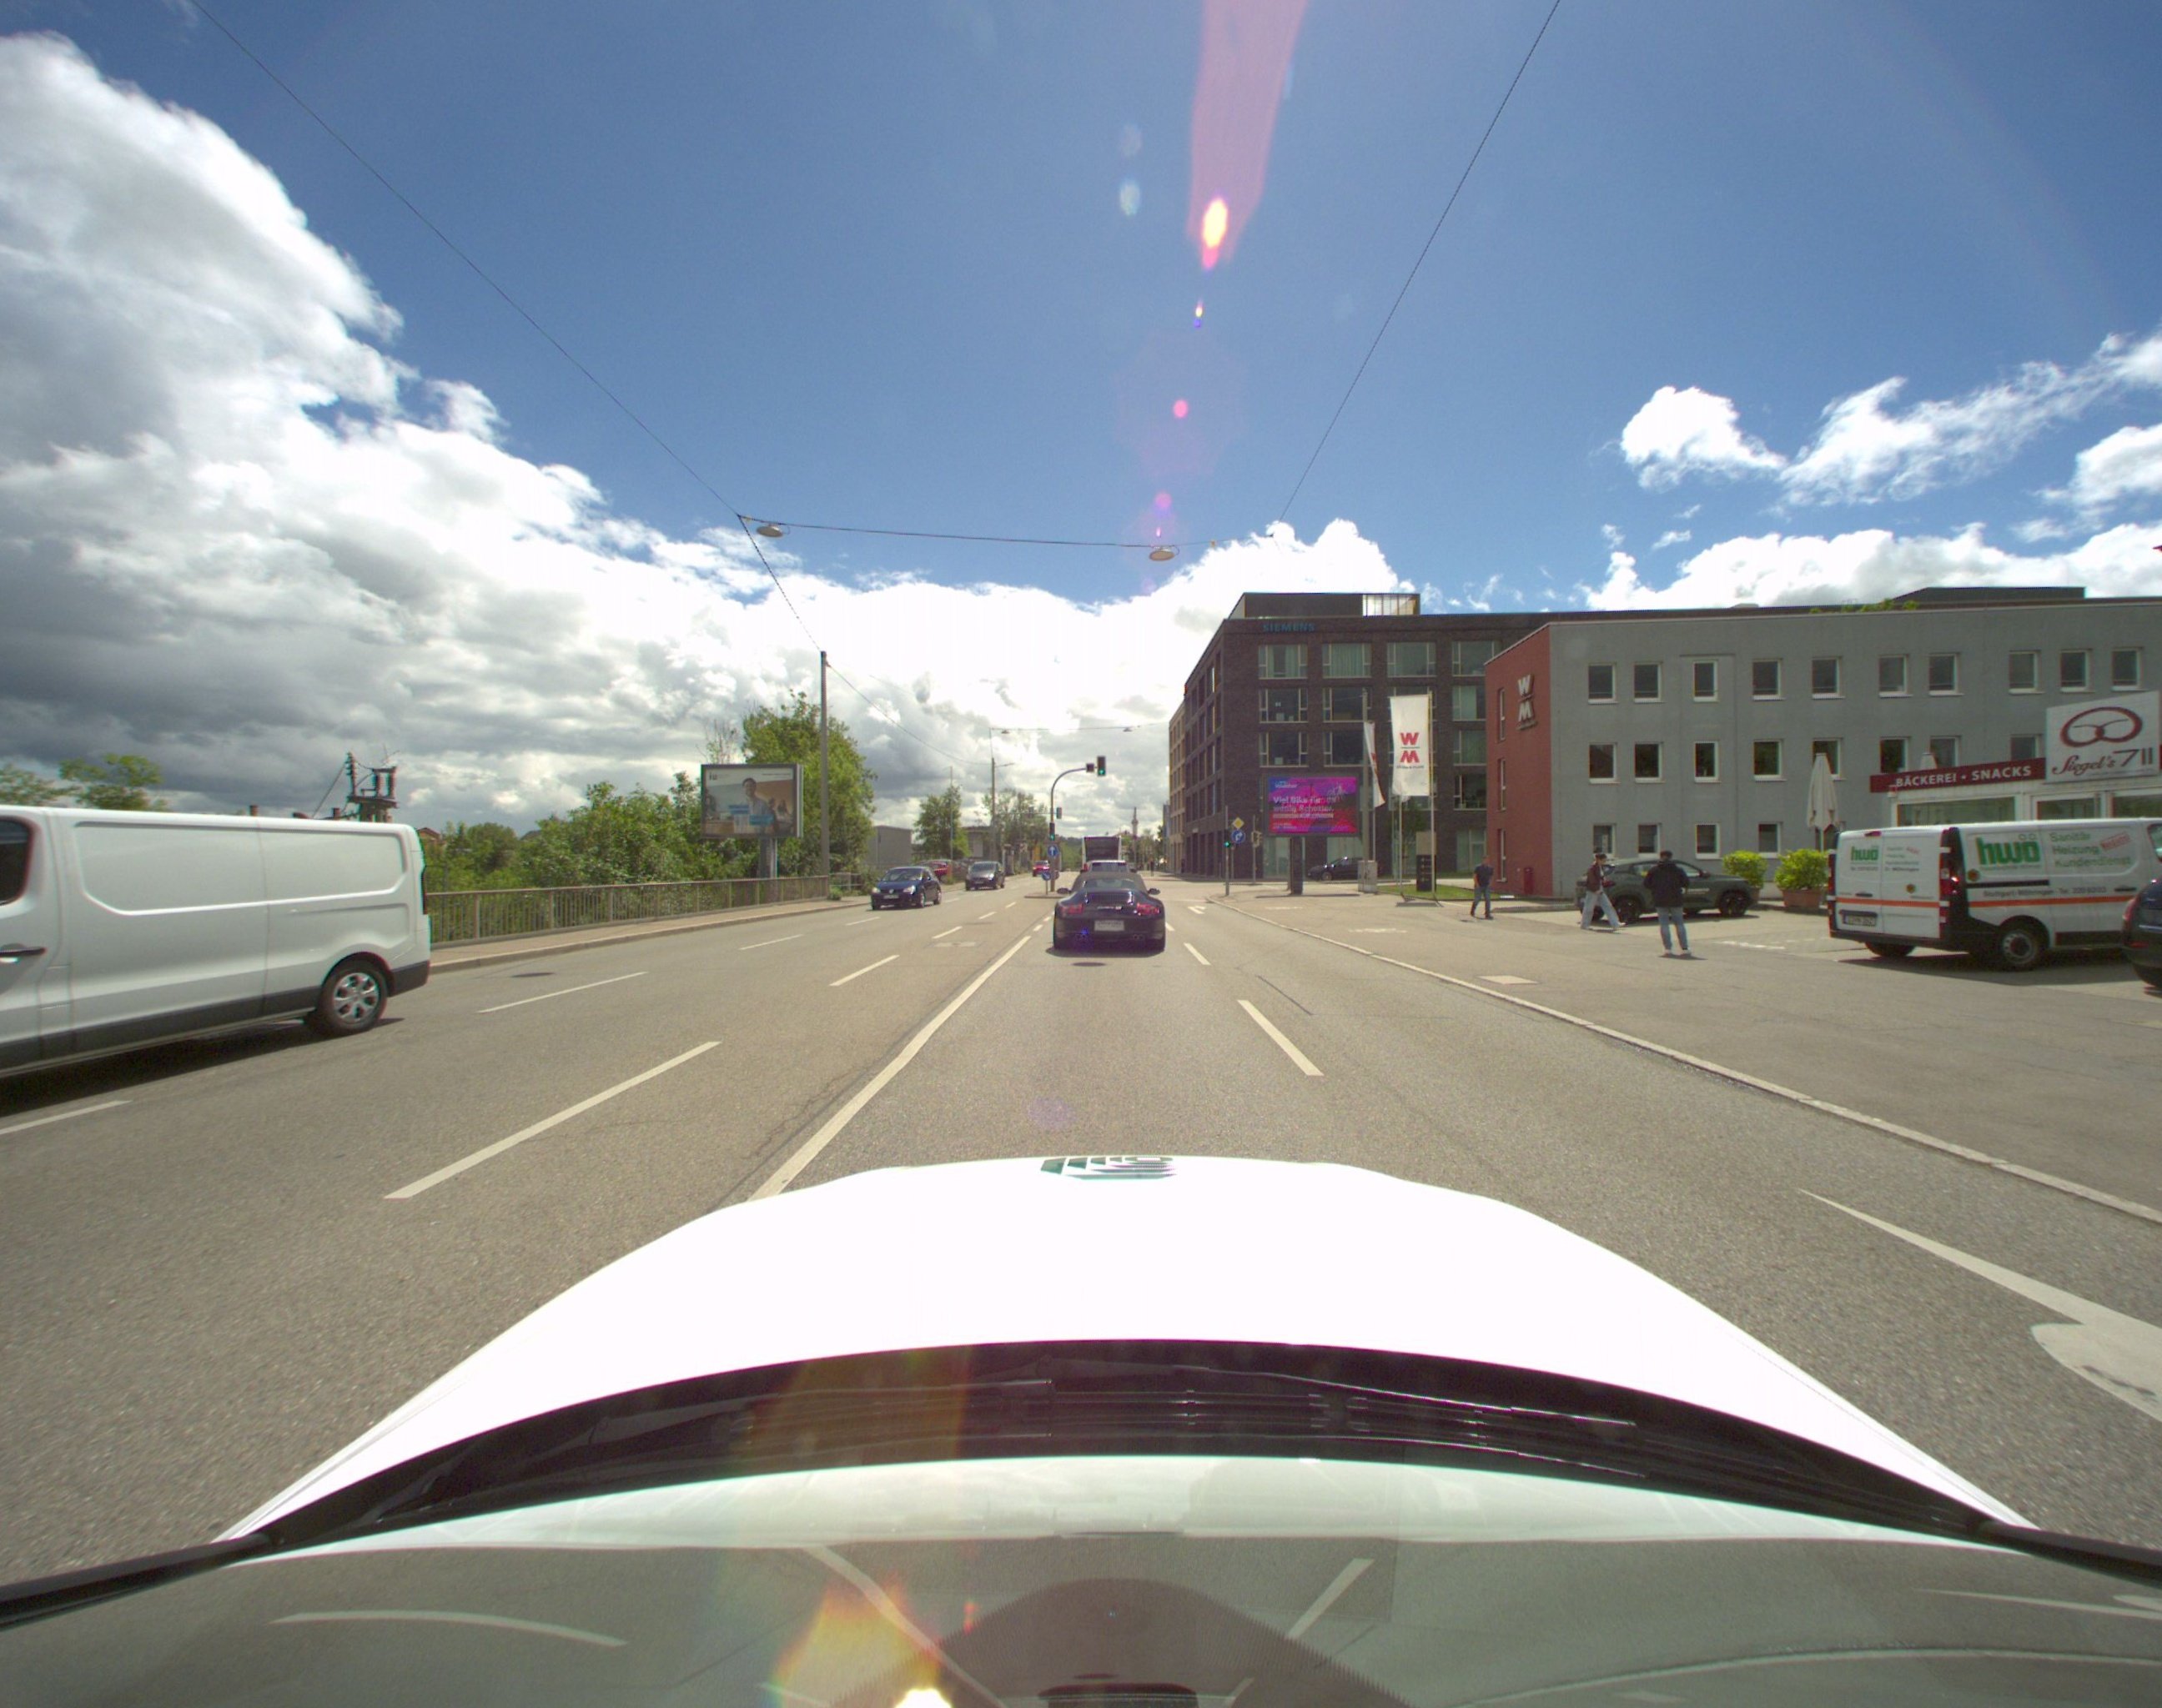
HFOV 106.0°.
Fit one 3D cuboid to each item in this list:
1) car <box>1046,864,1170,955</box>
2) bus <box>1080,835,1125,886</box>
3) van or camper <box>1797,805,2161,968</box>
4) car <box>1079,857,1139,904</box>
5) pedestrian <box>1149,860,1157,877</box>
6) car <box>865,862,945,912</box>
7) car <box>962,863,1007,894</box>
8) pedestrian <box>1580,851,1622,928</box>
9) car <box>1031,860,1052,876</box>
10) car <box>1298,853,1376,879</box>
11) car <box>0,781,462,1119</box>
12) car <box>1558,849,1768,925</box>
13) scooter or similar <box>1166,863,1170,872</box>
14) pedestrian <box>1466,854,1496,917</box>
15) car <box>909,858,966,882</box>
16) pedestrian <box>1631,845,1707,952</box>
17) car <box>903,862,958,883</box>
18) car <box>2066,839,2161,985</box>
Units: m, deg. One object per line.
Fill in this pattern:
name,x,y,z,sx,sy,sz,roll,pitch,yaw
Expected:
car,0.478,0.898,14.778,1.923,1.377,4.209,0,0,2
bus,1.576,0.442,57.352,2.791,3.198,12.201,0,0,2
van or camper,13.688,0.383,11.601,4.879,1.958,2.213,-3,-2,1
car,0.953,0.913,29.724,1.925,1.583,4.205,0,-1,-1
pedestrian,7.294,1.504,82.577,0.681,1.728,0.962,0,-1,0
car,-6.166,1.100,28.943,1.849,1.618,4.001,0,0,2
car,-5.618,1.384,47.960,1.904,1.702,4.627,0,0,2
pedestrian,11.794,0.796,18.478,0.741,1.707,0.574,-1,-1,28
car,-4.062,1.390,84.650,1.834,1.596,4.002,0,0,2
car,17.171,0.803,54.763,4.624,1.619,2.000,-1,0,0
car,-7.365,0.578,5.577,1.885,2.014,5.650,0,0,0
car,13.880,0.776,19.602,3.651,1.486,1.763,-5,-1,3
scooter or similar,12.121,1.884,113.986,0.425,1.153,1.403,-1,-1,0
pedestrian,11.135,0.855,22.665,0.705,1.707,0.634,-1,-1,28
car,-11.072,1.226,62.863,4.094,1.734,1.997,-1,-1,-4
pedestrian,9.682,0.720,13.434,0.709,1.707,0.739,0,-1,2
car,-11.059,1.339,60.082,3.849,1.419,1.897,-1,-1,-8
car,13.049,0.501,8.426,3.441,1.486,1.834,-4,-1,-1
